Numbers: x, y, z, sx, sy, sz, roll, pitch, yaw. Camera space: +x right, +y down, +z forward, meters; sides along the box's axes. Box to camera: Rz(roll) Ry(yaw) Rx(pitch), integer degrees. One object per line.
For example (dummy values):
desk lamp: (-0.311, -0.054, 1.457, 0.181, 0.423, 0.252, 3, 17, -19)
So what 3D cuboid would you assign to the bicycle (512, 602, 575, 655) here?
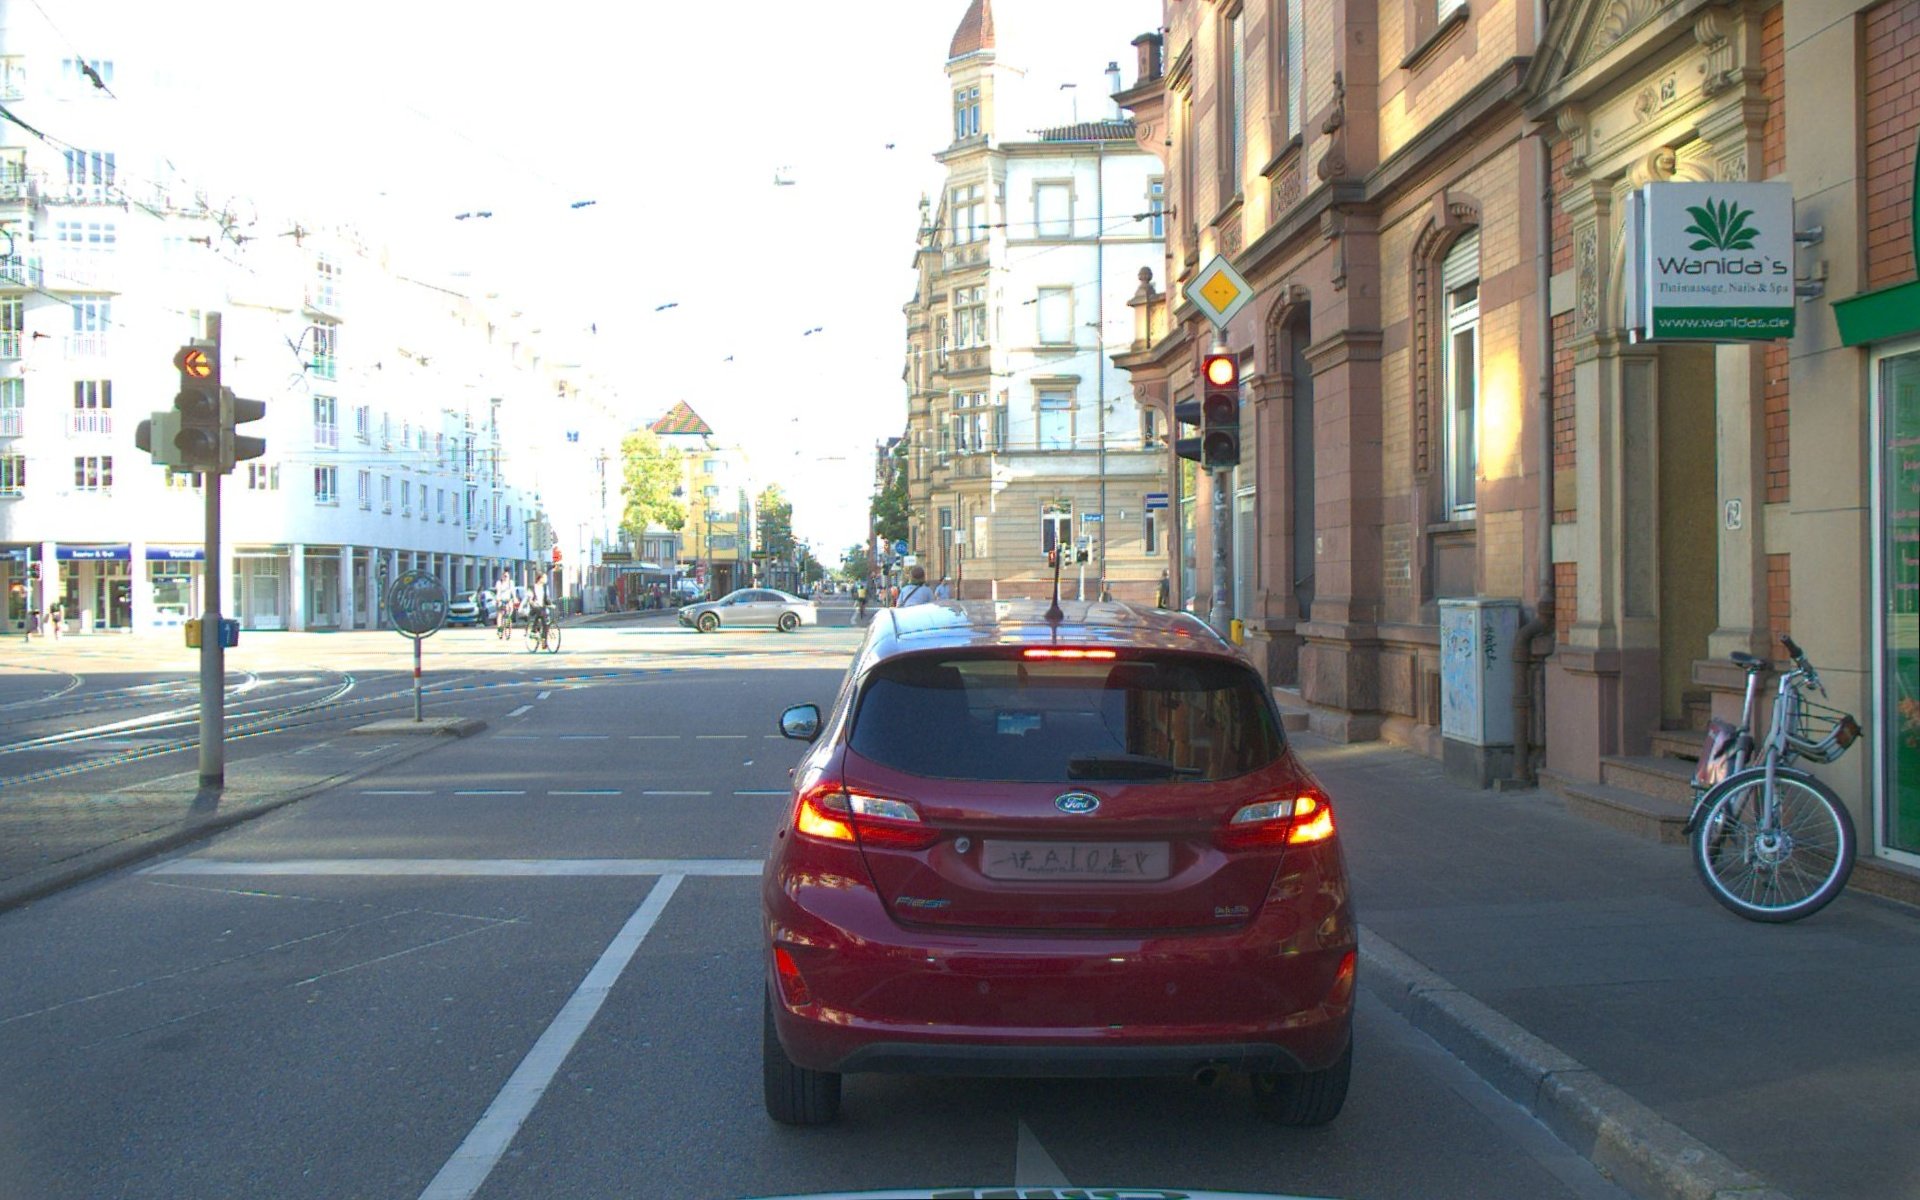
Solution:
bicycle: (-9.576, 0.643, 37.954, 0.800, 1.167, 2.026, -1, 0, -33)

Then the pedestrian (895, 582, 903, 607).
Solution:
pedestrian: (-4.935, -0.444, 134.554, 0.565, 2.049, 0.631, -1, 0, 2)

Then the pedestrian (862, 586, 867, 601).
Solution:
pedestrian: (-11.530, -0.784, 200.144, 0.565, 1.920, 0.630, -1, 0, -3)

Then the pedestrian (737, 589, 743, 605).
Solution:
pedestrian: (-21.610, -0.320, 162.264, 0.513, 1.514, 0.582, -1, 0, -2)

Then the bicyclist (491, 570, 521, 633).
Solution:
bicyclist: (-13.492, 0.035, 49.194, 0.795, 1.853, 0.988, -1, 0, -18)

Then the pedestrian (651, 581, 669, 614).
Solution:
pedestrian: (-18.612, -0.160, 102.540, 1.025, 2.049, 0.958, -1, 0, -6)

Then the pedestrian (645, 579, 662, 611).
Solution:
pedestrian: (-19.943, -0.323, 107.575, 0.937, 2.049, 1.047, -1, 0, -6)

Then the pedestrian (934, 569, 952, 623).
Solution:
pedestrian: (-0.651, -0.162, 64.089, 0.638, 2.049, 0.759, -1, 0, -4)

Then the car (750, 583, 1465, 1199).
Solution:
car: (0.195, 0.708, 5.927, 1.720, 1.492, 3.941, 1, 0, -5)

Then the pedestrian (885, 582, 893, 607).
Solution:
pedestrian: (-5.763, -0.452, 134.637, 0.565, 2.049, 0.631, -1, 0, 2)

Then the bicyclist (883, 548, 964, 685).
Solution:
bicyclist: (-0.446, 0.189, 20.416, 0.748, 1.655, 0.731, 1, 0, 25)

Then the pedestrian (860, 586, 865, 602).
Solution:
pedestrian: (-11.980, -0.732, 203.637, 0.565, 1.920, 0.669, -1, 0, -3)

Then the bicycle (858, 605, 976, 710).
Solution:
bicycle: (-0.502, 0.677, 20.285, 0.614, 1.198, 2.023, 1, 0, 25)

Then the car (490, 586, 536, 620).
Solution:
car: (-23.727, 0.149, 87.931, 1.667, 1.748, 3.561, -1, 0, -4)

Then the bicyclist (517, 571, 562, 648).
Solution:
bicyclist: (-9.702, 0.210, 38.135, 0.800, 1.756, 0.785, -1, 0, -32)

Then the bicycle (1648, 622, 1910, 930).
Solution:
bicycle: (3.628, 0.725, 7.468, 0.700, 1.172, 1.656, -2, 0, 15)

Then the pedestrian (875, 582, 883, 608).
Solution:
pedestrian: (-6.597, -0.415, 134.451, 0.565, 2.049, 0.631, -1, 0, 2)

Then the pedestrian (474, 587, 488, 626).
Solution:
pedestrian: (-21.083, 0.272, 72.856, 0.514, 1.711, 0.485, -1, 0, -11)

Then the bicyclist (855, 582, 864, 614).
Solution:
bicyclist: (-5.477, -0.121, 90.211, 0.489, 1.705, 0.545, -1, 0, -2)

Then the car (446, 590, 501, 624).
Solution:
car: (-23.347, 0.327, 79.532, 1.730, 1.573, 3.459, -1, 0, -3)

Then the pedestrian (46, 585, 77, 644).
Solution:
pedestrian: (-31.729, 0.516, 58.404, 0.934, 2.049, 0.930, -1, 0, -31)

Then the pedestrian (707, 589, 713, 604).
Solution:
pedestrian: (-25.008, -0.381, 165.223, 0.569, 1.514, 0.525, -1, 0, -5)

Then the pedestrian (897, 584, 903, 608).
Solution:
pedestrian: (-4.386, -0.270, 120.333, 0.405, 1.710, 0.484, -1, 0, -1)

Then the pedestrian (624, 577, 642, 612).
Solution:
pedestrian: (-19.798, -0.335, 100.212, 0.937, 2.049, 1.048, -1, 0, -4)

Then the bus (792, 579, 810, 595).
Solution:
bus: (-20.875, -1.646, 216.805, 1.887, 2.049, 7.134, -1, 0, -2)

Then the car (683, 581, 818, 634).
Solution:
car: (-7.037, 0.236, 55.463, 4.367, 1.669, 1.698, -1, 0, -13)

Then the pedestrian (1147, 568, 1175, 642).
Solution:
pedestrian: (4.864, 0.118, 40.118, 0.549, 1.786, 0.650, -1, 0, -1)

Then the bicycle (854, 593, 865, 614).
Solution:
bicycle: (-5.480, 0.181, 90.391, 0.515, 1.108, 1.486, -1, 0, -1)

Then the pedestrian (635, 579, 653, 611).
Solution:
pedestrian: (-19.967, -0.317, 104.548, 1.025, 2.049, 0.958, -1, 0, -6)

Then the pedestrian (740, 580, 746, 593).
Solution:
pedestrian: (-25.758, -1.594, 196.348, 0.619, 1.632, 0.575, -1, 0, -20)

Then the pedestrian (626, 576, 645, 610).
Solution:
pedestrian: (-20.107, -0.431, 102.388, 1.025, 2.049, 0.958, -1, 0, -6)

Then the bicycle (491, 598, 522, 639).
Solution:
bicycle: (-13.529, 0.542, 49.350, 0.795, 1.167, 2.000, -1, 0, -18)
